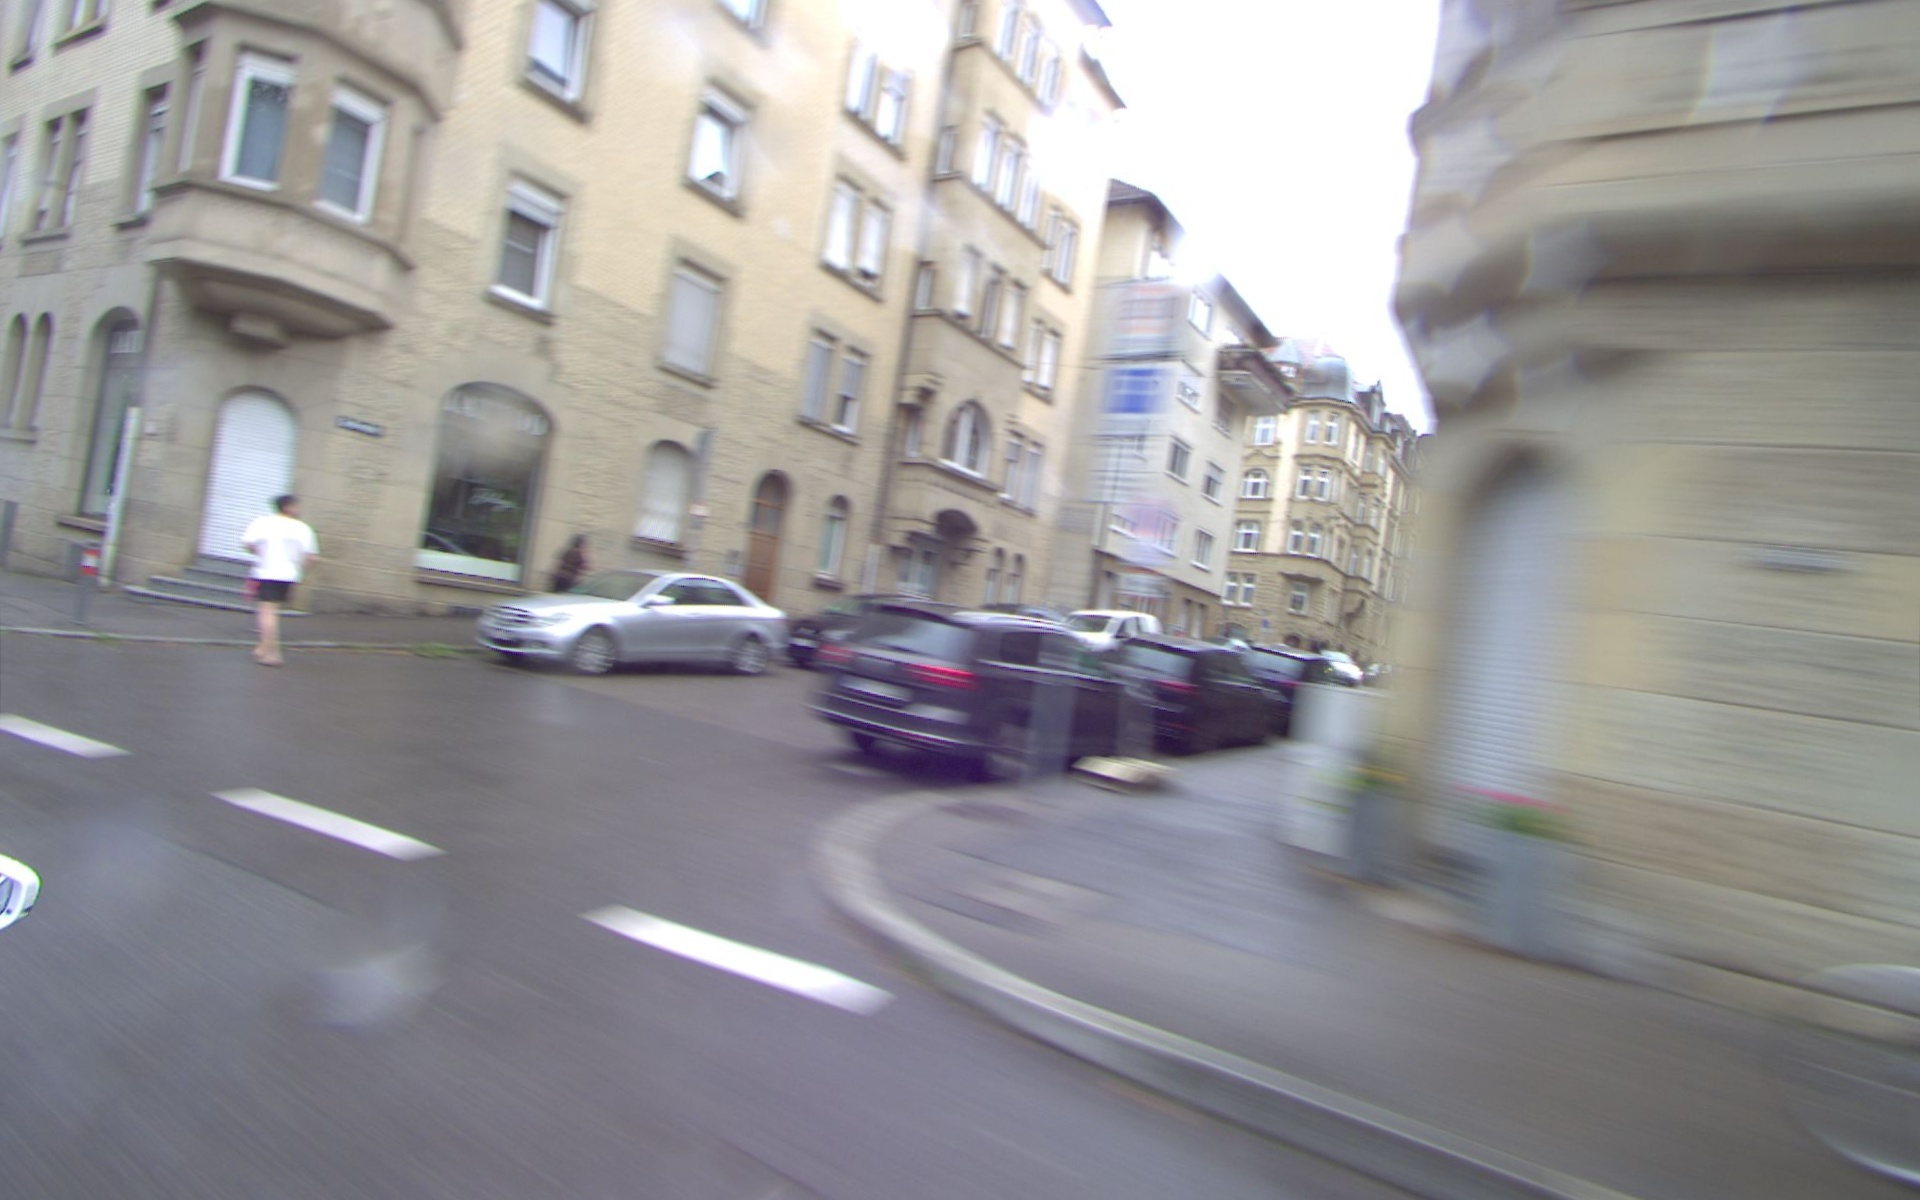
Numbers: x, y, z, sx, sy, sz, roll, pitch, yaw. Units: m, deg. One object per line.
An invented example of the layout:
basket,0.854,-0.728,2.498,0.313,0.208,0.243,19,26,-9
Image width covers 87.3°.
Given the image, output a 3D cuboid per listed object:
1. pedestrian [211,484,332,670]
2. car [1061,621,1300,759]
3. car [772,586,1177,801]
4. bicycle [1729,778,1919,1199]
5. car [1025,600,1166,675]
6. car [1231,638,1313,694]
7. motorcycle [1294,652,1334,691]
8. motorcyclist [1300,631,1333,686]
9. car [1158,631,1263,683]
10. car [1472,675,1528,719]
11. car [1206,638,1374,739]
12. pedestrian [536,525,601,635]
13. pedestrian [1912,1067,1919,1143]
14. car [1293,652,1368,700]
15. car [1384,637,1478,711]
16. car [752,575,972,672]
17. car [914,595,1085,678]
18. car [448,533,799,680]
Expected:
pedestrian,-7.115,-0.227,10.399,0.746,1.810,0.694,7,2,36
car,3.295,1.256,14.393,1.834,1.460,4.131,7,0,34
car,0.413,0.888,10.173,1.834,1.503,4.453,7,0,34
bicycle,3.364,1.238,2.548,2.092,1.148,0.622,7,-1,32
car,3.755,1.066,27.281,1.970,1.699,4.302,3,-3,35
car,12.904,2.766,41.464,1.882,1.720,4.308,7,-4,35
motorcycle,11.777,2.387,33.389,0.634,1.110,2.285,7,-2,33
motorcyclist,11.842,1.952,33.419,0.634,1.729,0.932,7,-1,33
car,8.656,2.002,34.526,1.969,1.437,4.301,7,0,35
car,24.798,4.463,46.147,1.723,1.712,3.991,7,-2,34
car,6.320,1.640,18.951,1.834,1.460,4.131,7,0,34
pedestrian,-6.403,-0.323,16.456,0.616,1.708,0.548,7,0,35
pedestrian,3.424,1.057,2.868,0.630,1.386,0.672,7,-1,0
car,16.296,3.306,44.414,1.839,1.726,4.003,7,-1,3
car,15.454,2.469,32.902,1.968,2.037,4.319,7,-2,34
car,-1.674,0.497,18.669,1.747,1.438,4.282,7,1,31
car,0.994,0.874,22.653,1.749,1.500,4.281,5,-2,34
car,-4.494,0.188,14.113,1.861,1.550,4.342,7,-1,33
